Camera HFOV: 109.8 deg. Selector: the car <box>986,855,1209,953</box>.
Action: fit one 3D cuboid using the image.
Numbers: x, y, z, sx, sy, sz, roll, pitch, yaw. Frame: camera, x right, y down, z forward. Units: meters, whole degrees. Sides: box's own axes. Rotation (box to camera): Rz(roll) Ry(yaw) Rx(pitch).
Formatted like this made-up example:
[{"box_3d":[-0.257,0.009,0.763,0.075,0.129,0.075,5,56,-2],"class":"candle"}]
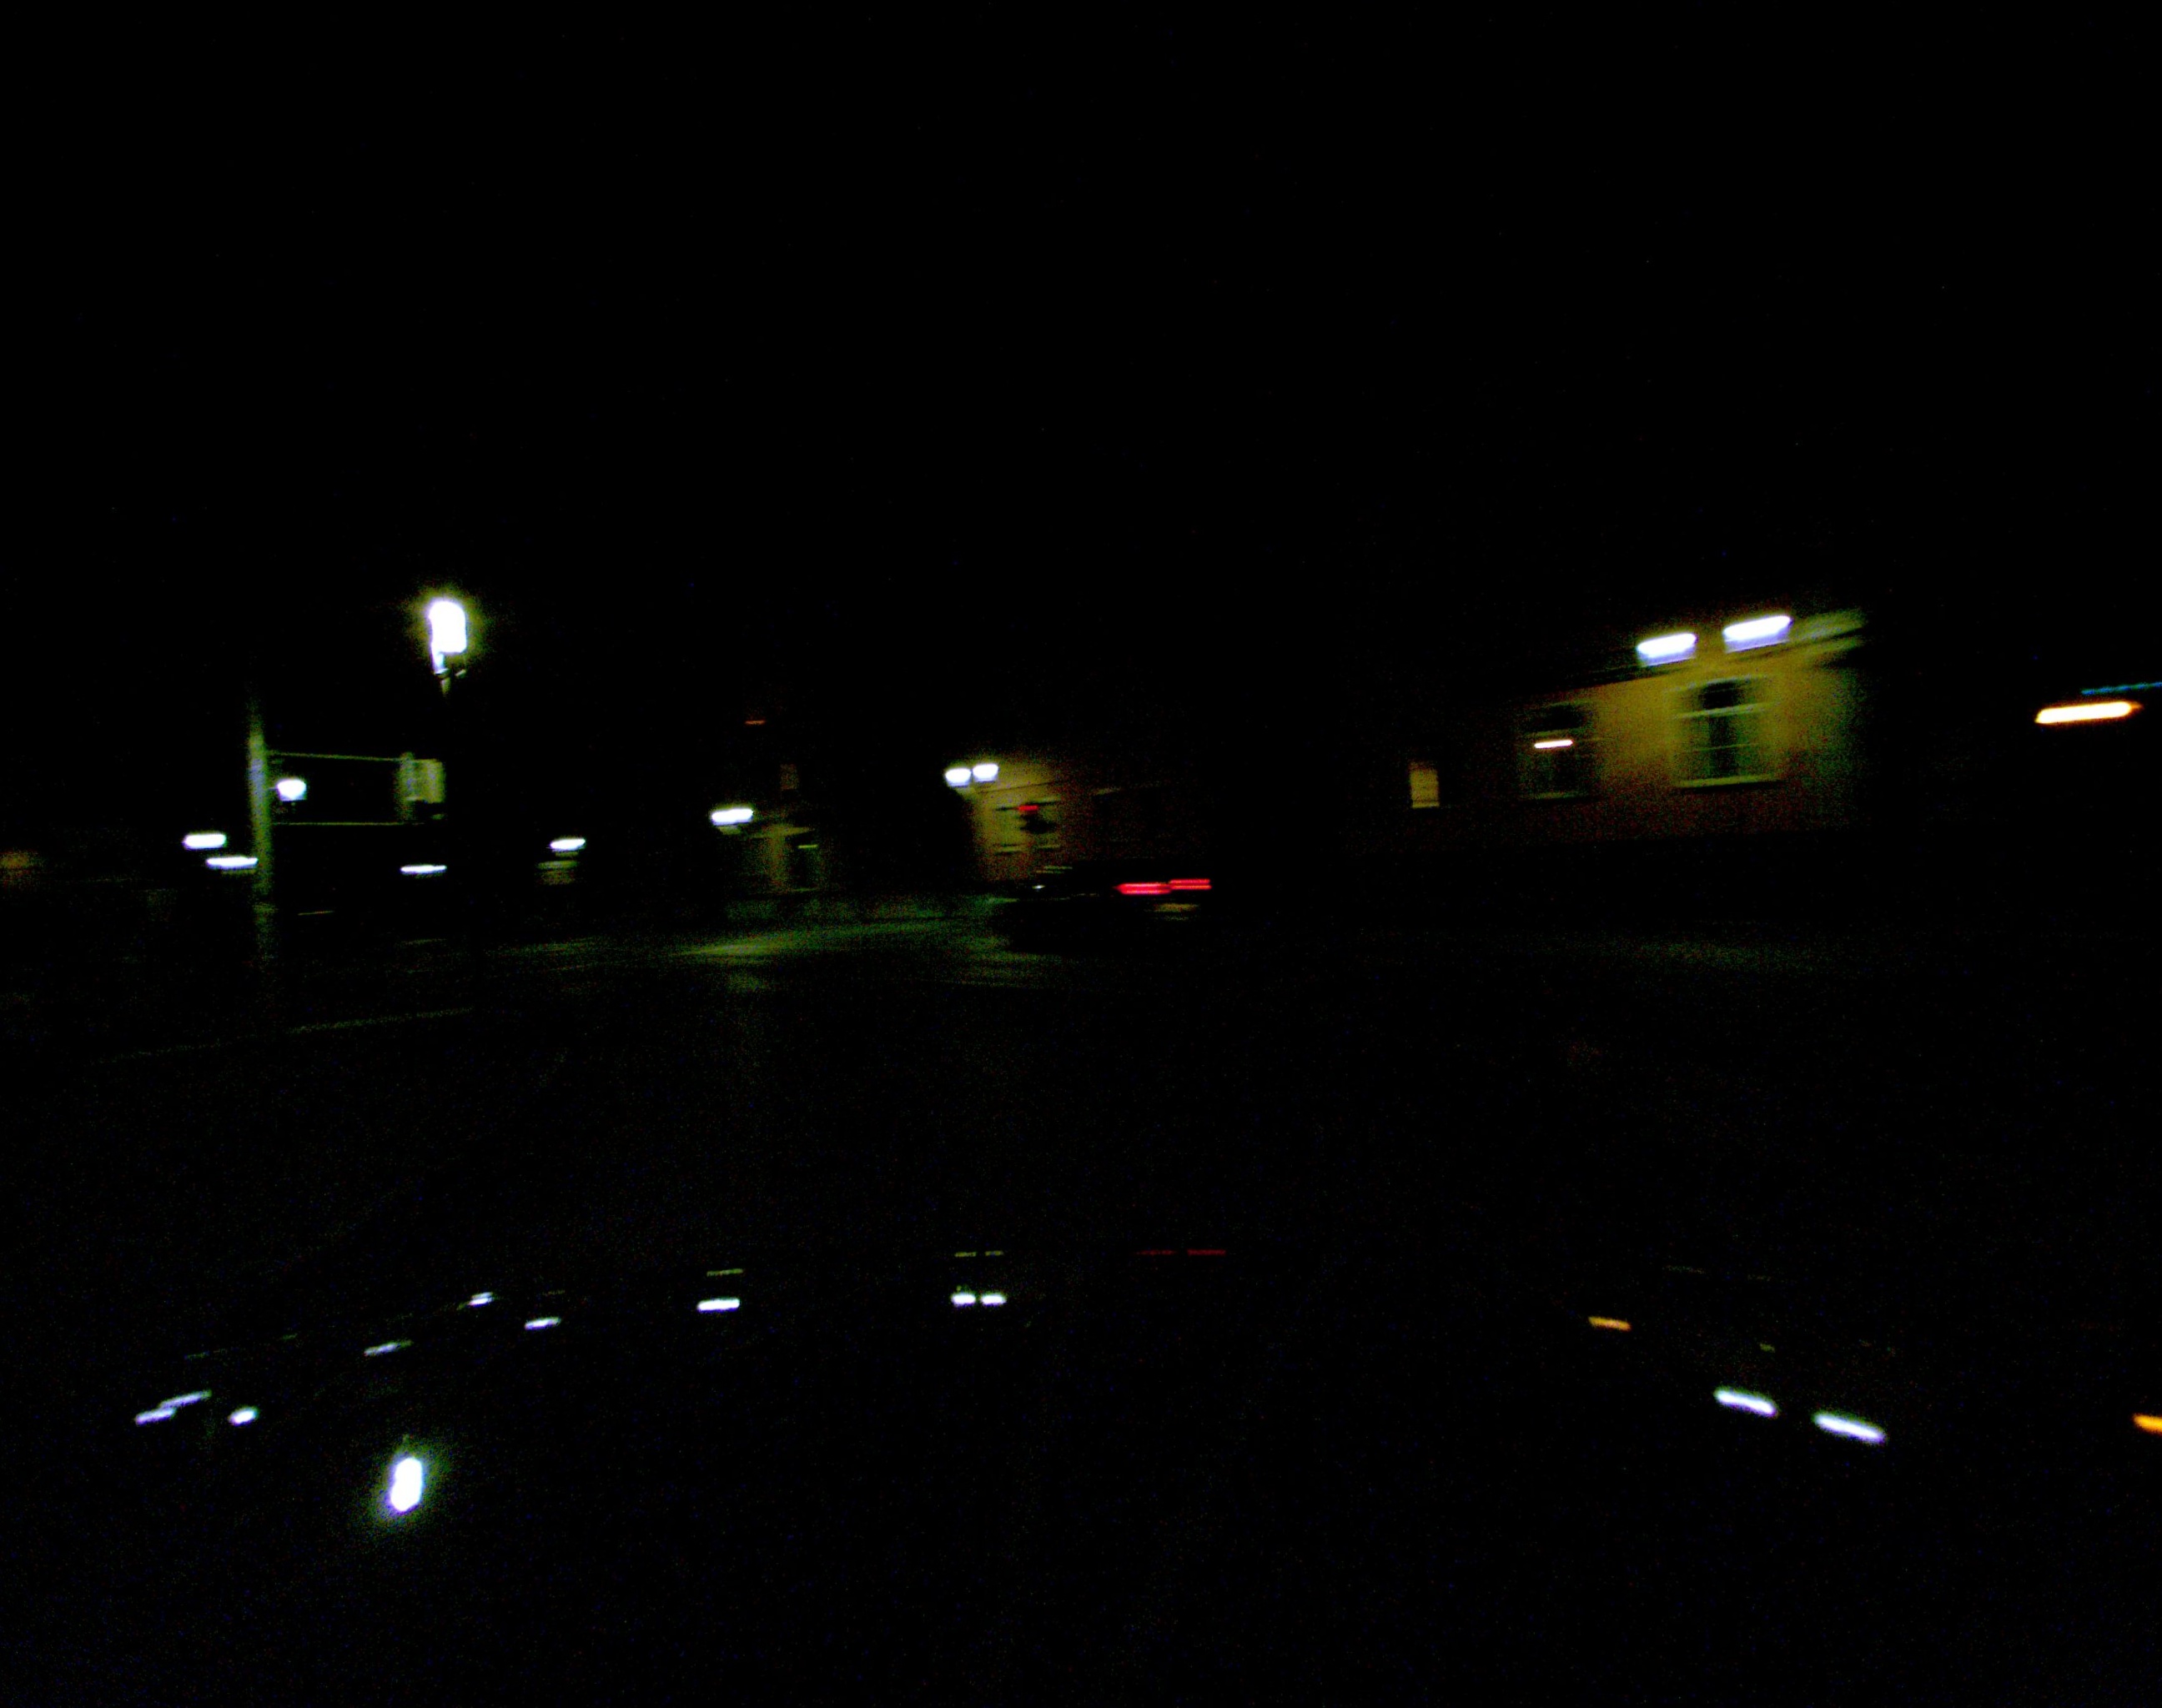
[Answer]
[{"box_3d":[0.191,0.962,14.896,1.745,1.575,4.232,-4,0,-45],"class":"car"}]
